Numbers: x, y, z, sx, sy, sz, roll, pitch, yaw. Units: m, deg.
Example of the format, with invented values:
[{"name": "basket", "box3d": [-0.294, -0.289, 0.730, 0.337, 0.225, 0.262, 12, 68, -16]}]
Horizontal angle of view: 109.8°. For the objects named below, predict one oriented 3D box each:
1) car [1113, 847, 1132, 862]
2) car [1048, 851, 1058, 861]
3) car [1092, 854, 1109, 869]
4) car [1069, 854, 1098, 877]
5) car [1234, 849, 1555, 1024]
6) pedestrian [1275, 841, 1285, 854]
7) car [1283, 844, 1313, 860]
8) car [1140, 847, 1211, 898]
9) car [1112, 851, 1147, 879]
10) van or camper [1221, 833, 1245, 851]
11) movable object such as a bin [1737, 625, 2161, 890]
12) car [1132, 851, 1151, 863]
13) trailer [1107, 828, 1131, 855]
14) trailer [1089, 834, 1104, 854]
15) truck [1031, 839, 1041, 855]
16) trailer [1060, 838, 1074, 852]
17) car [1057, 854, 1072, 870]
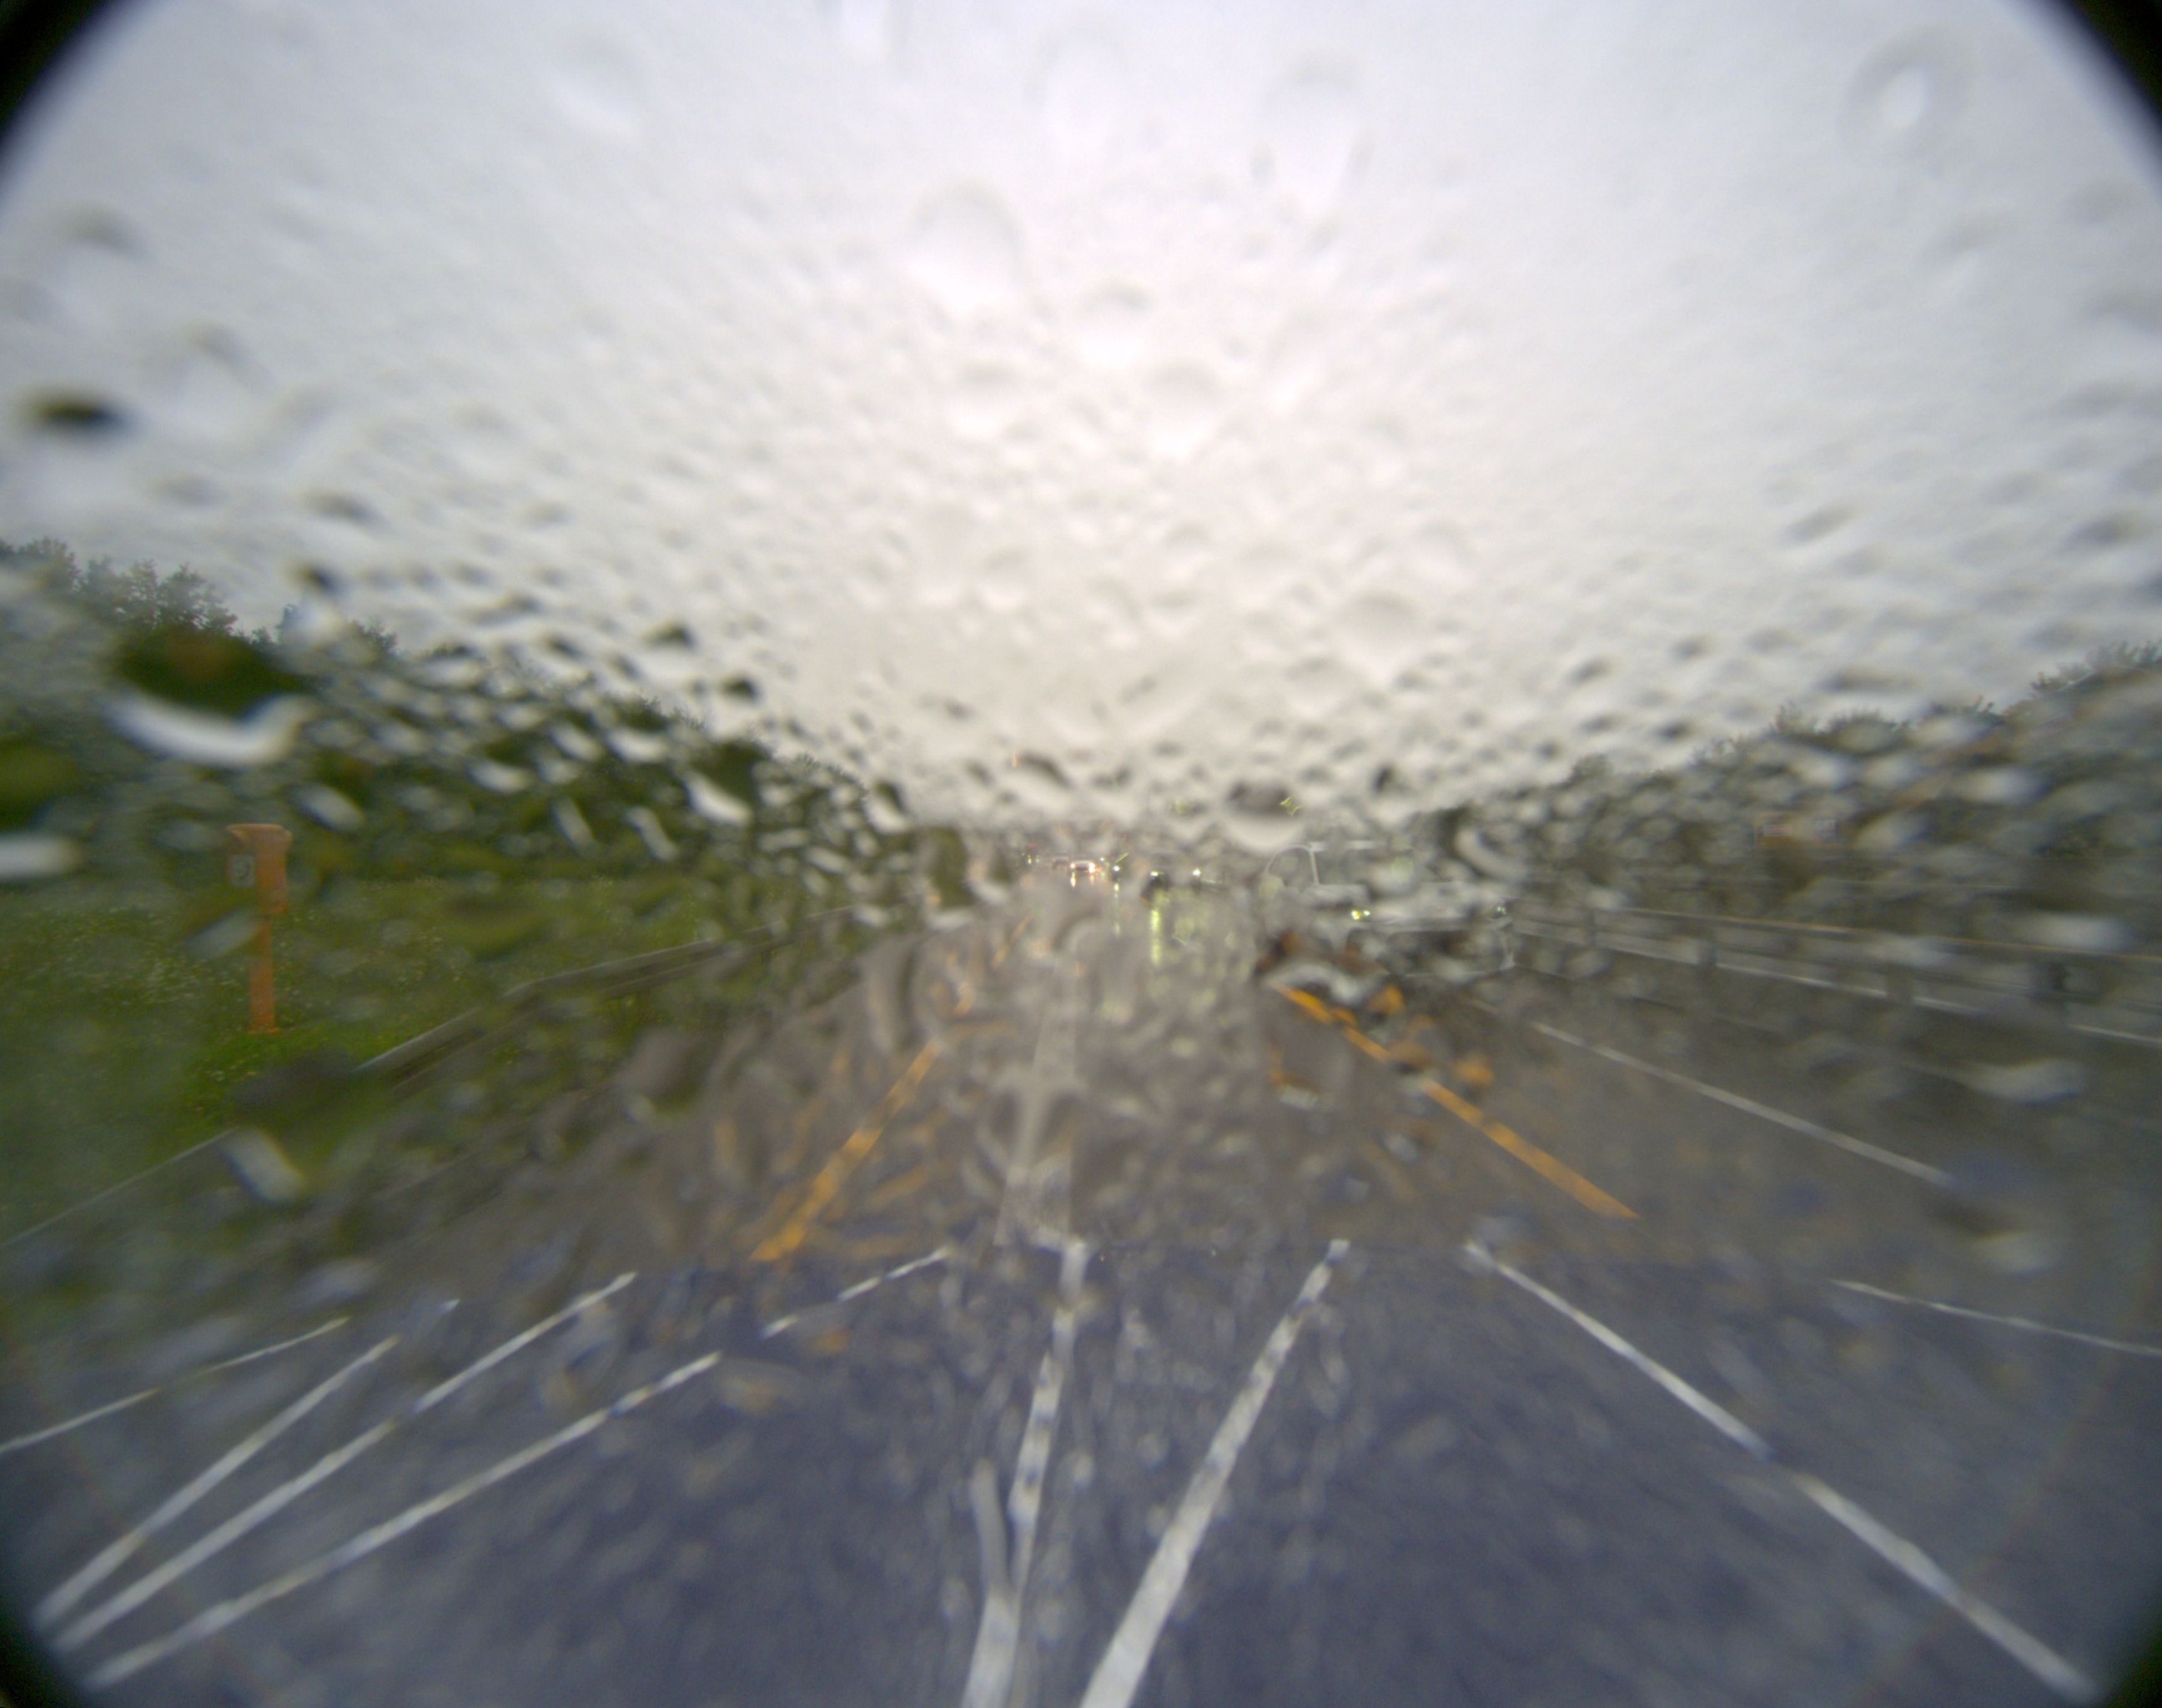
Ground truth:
[{"name": "car", "box3d": [4.744, 0.005, 86.612, 1.806, 1.584, 4.182, -3, 1, -1]}, {"name": "car", "box3d": [-5.182, 0.426, 139.939, 1.674, 1.804, 3.998, -1, 1, -4]}, {"name": "car", "box3d": [2.135, 0.795, 83.980, 1.590, 1.528, 3.830, -1, 1, -2]}, {"name": "car", "box3d": [0.145, 0.885, 60.657, 1.882, 1.772, 3.997, -1, 1, -6]}, {"name": "car", "box3d": [3.368, 0.737, 9.445, 1.932, 1.542, 5.006, -1, 1, 0]}, {"name": "pedestrian", "box3d": [30.381, -0.990, 115.856, 1.108, 2.002, 1.125, -3, 1, -6]}, {"name": "car", "box3d": [28.109, -0.237, 98.459, 2.099, 1.955, 5.363, -2, 1, -3]}, {"name": "car", "box3d": [3.333, 0.589, 27.752, 2.069, 1.618, 5.195, -2, 1, 2]}, {"name": "car", "box3d": [2.807, 0.611, 44.442, 1.792, 1.481, 3.999, -3, 1, 1]}, {"name": "van or camper", "box3d": [38.202, -2.909, 191.287, 3.376, 4.299, 8.502, -3, 1, -4]}, {"name": "movable object such as a bin", "box3d": [26.117, -2.315, 22.375, 4.181, 5.881, 11.044, -3, 1, 2]}, {"name": "car", "box3d": [7.917, 0.409, 99.354, 1.999, 1.497, 4.295, -2, 1, -1]}, {"name": "trailer", "box3d": [5.986, -1.951, 122.311, 2.915, 4.065, 12.218, -1, 0, -1]}, {"name": "trailer", "box3d": [3.154, -2.106, 159.061, 2.501, 4.026, 12.583, -1, 1, -2]}, {"name": "truck", "box3d": [-12.333, -1.846, 208.945, 2.507, 4.067, 15.195, -3, 1, -3]}, {"name": "trailer", "box3d": [-4.228, -2.629, 222.995, 2.608, 4.054, 12.421, -2, 1, -8]}, {"name": "car", "box3d": [-1.857, 0.879, 86.131, 1.673, 1.804, 3.999, -1, 1, -2]}]
